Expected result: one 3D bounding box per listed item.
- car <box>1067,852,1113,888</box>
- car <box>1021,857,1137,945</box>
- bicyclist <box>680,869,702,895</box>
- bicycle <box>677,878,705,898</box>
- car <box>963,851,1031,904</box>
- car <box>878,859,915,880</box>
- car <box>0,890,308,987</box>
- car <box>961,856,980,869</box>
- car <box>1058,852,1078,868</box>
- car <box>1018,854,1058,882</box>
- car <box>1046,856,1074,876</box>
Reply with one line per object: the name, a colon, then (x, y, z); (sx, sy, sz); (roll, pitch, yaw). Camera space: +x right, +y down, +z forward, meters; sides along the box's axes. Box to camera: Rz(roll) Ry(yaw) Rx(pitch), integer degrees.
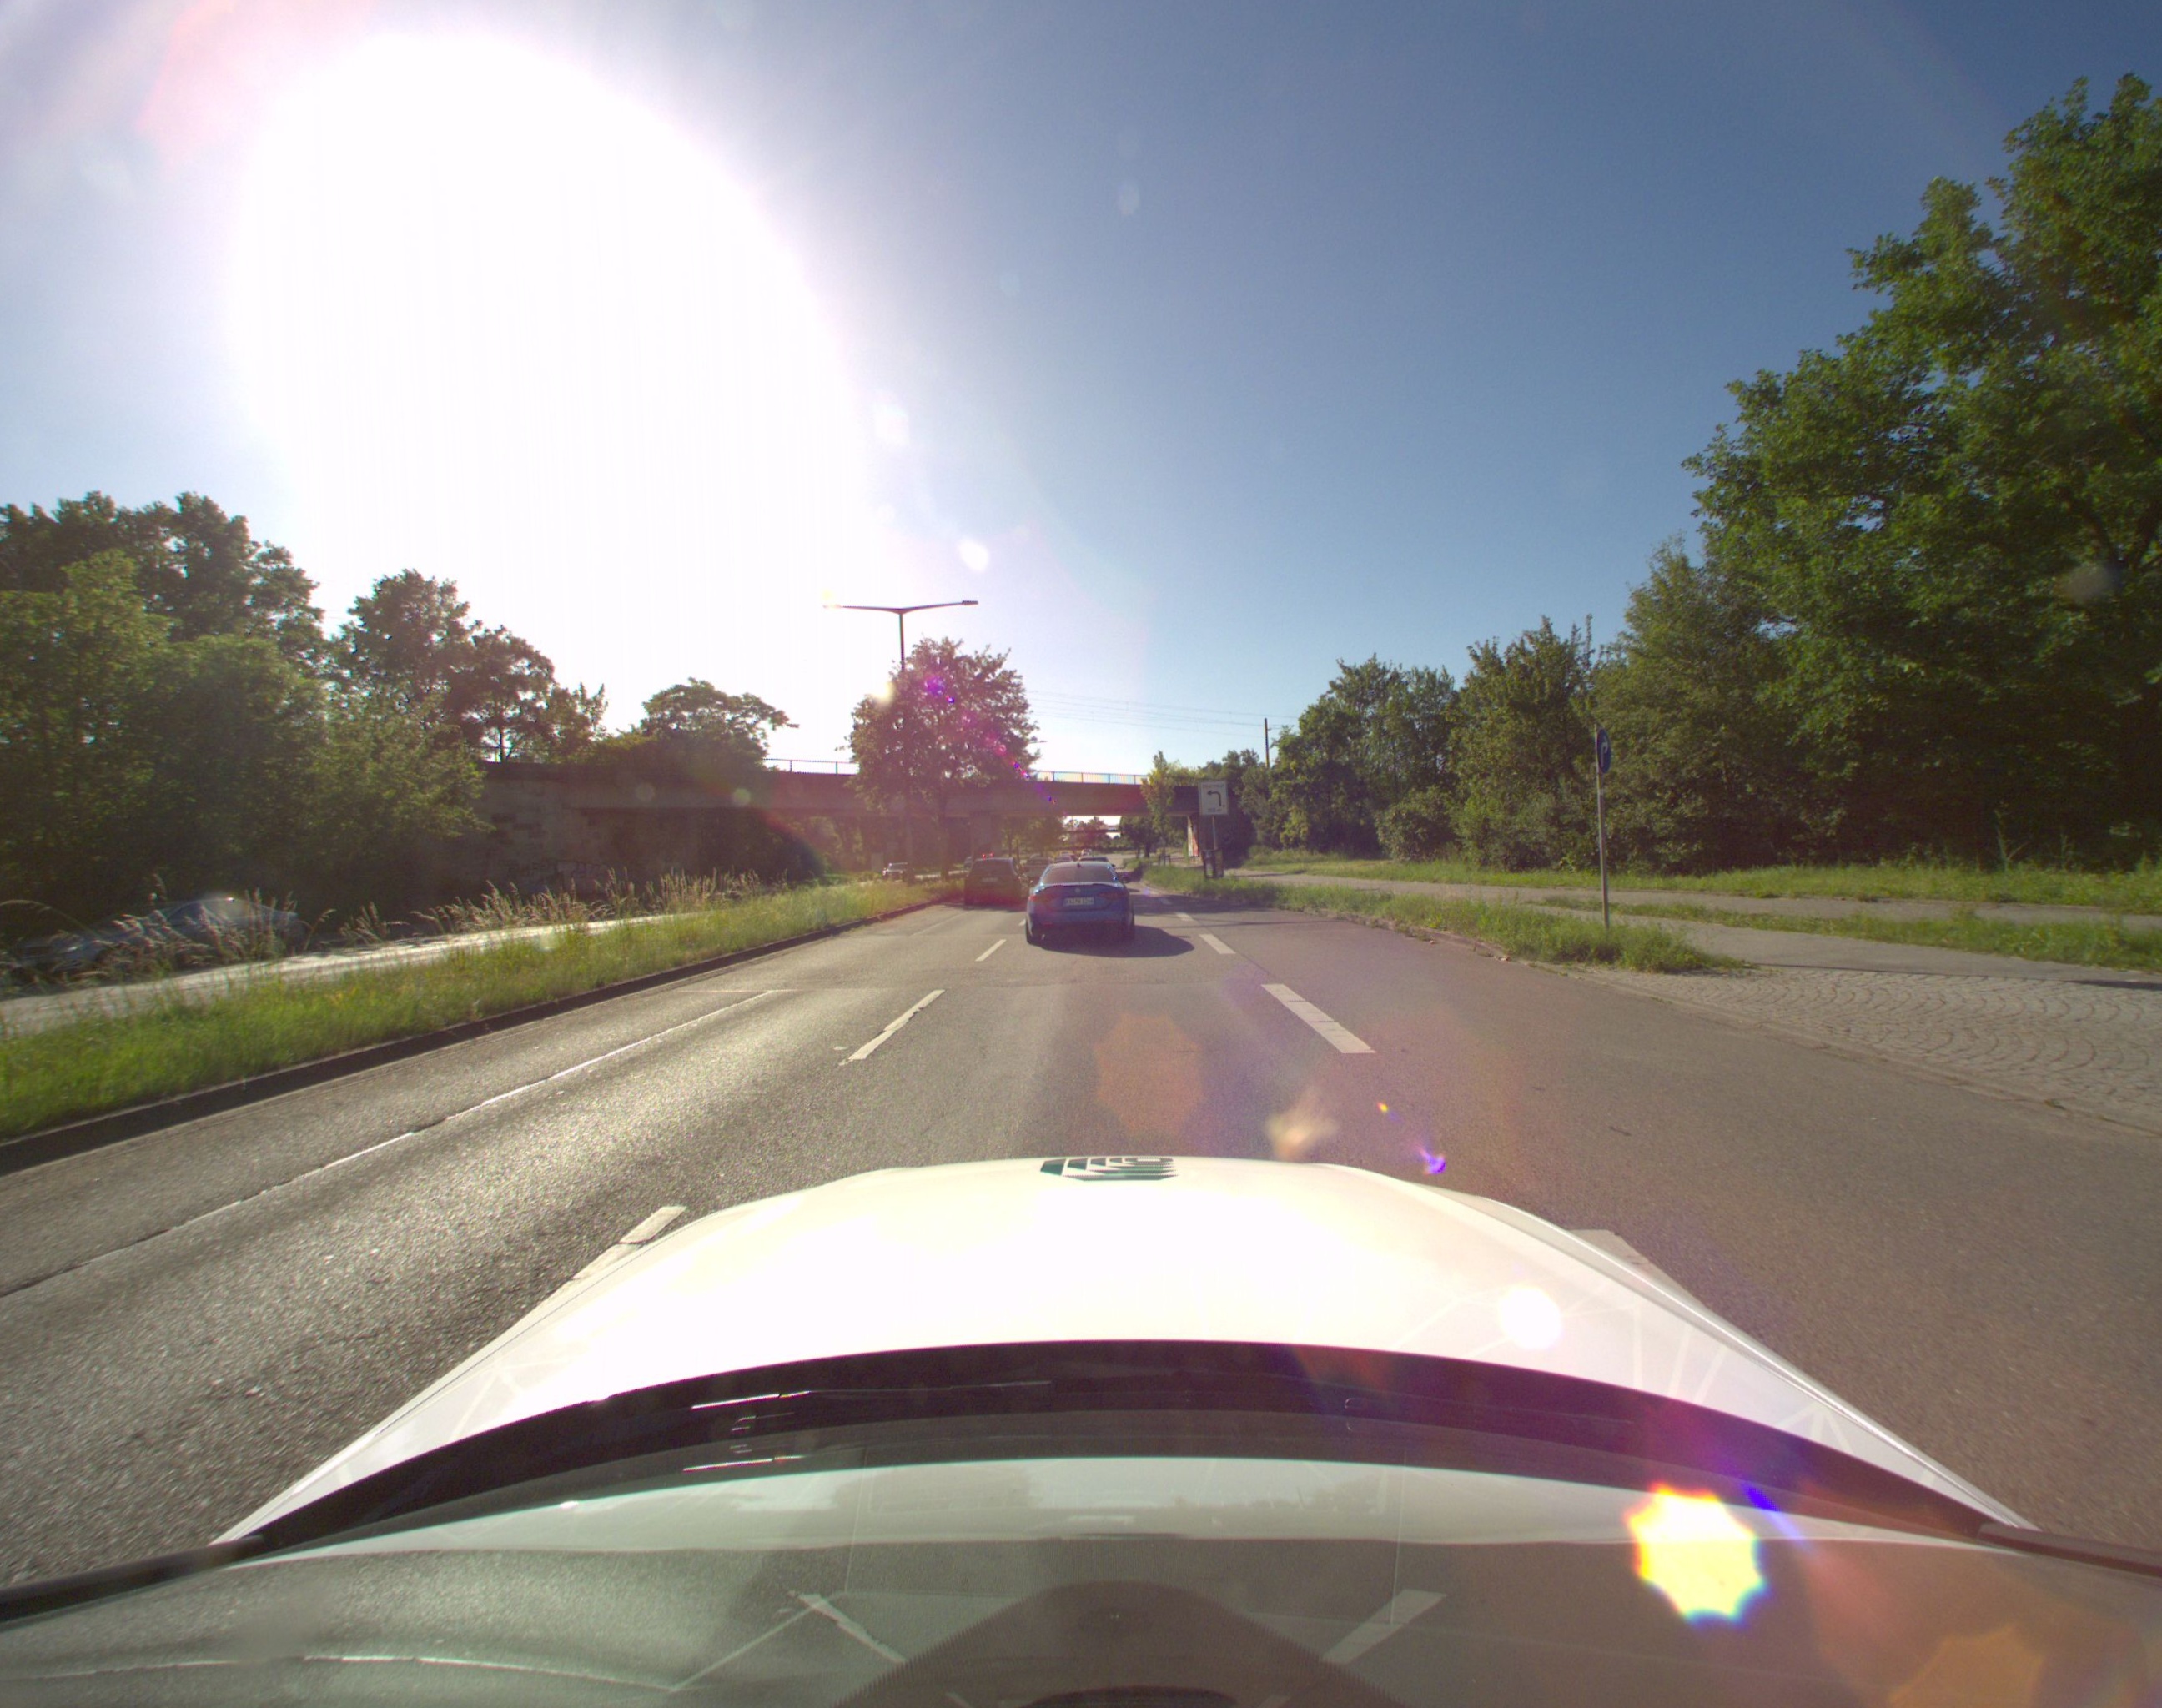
car: (0.425, 0.655, 35.754); (1.876, 1.454, 4.528); (-1, 0, 2)
car: (0.036, 0.775, 15.424); (1.876, 1.406, 4.225); (-1, 0, 2)
bicyclist: (-21.236, 1.508, 44.315); (0.677, 1.402, 1.027); (-1, -1, 1)
bicycle: (-21.233, 1.858, 44.354); (0.681, 1.030, 1.715); (-1, 0, 1)
car: (-2.734, 0.740, 27.307); (1.701, 1.598, 4.225); (-1, 0, 2)
car: (-14.280, 1.176, 63.315); (1.810, 1.442, 4.091); (-3, 0, 1)
car: (-19.018, 1.627, 16.679); (1.907, 1.454, 4.491); (-4, 0, 1)
car: (-15.257, 1.148, 112.593); (1.722, 1.616, 4.181); (-3, 0, 2)
car: (-1.278, 0.584, 82.694); (1.773, 1.454, 4.183); (-2, 0, 2)
car: (-2.343, 0.762, 45.718); (1.876, 1.454, 4.528); (-1, 0, 2)
car: (-1.586, 0.919, 63.667); (1.876, 1.454, 4.528); (-1, 0, 2)
